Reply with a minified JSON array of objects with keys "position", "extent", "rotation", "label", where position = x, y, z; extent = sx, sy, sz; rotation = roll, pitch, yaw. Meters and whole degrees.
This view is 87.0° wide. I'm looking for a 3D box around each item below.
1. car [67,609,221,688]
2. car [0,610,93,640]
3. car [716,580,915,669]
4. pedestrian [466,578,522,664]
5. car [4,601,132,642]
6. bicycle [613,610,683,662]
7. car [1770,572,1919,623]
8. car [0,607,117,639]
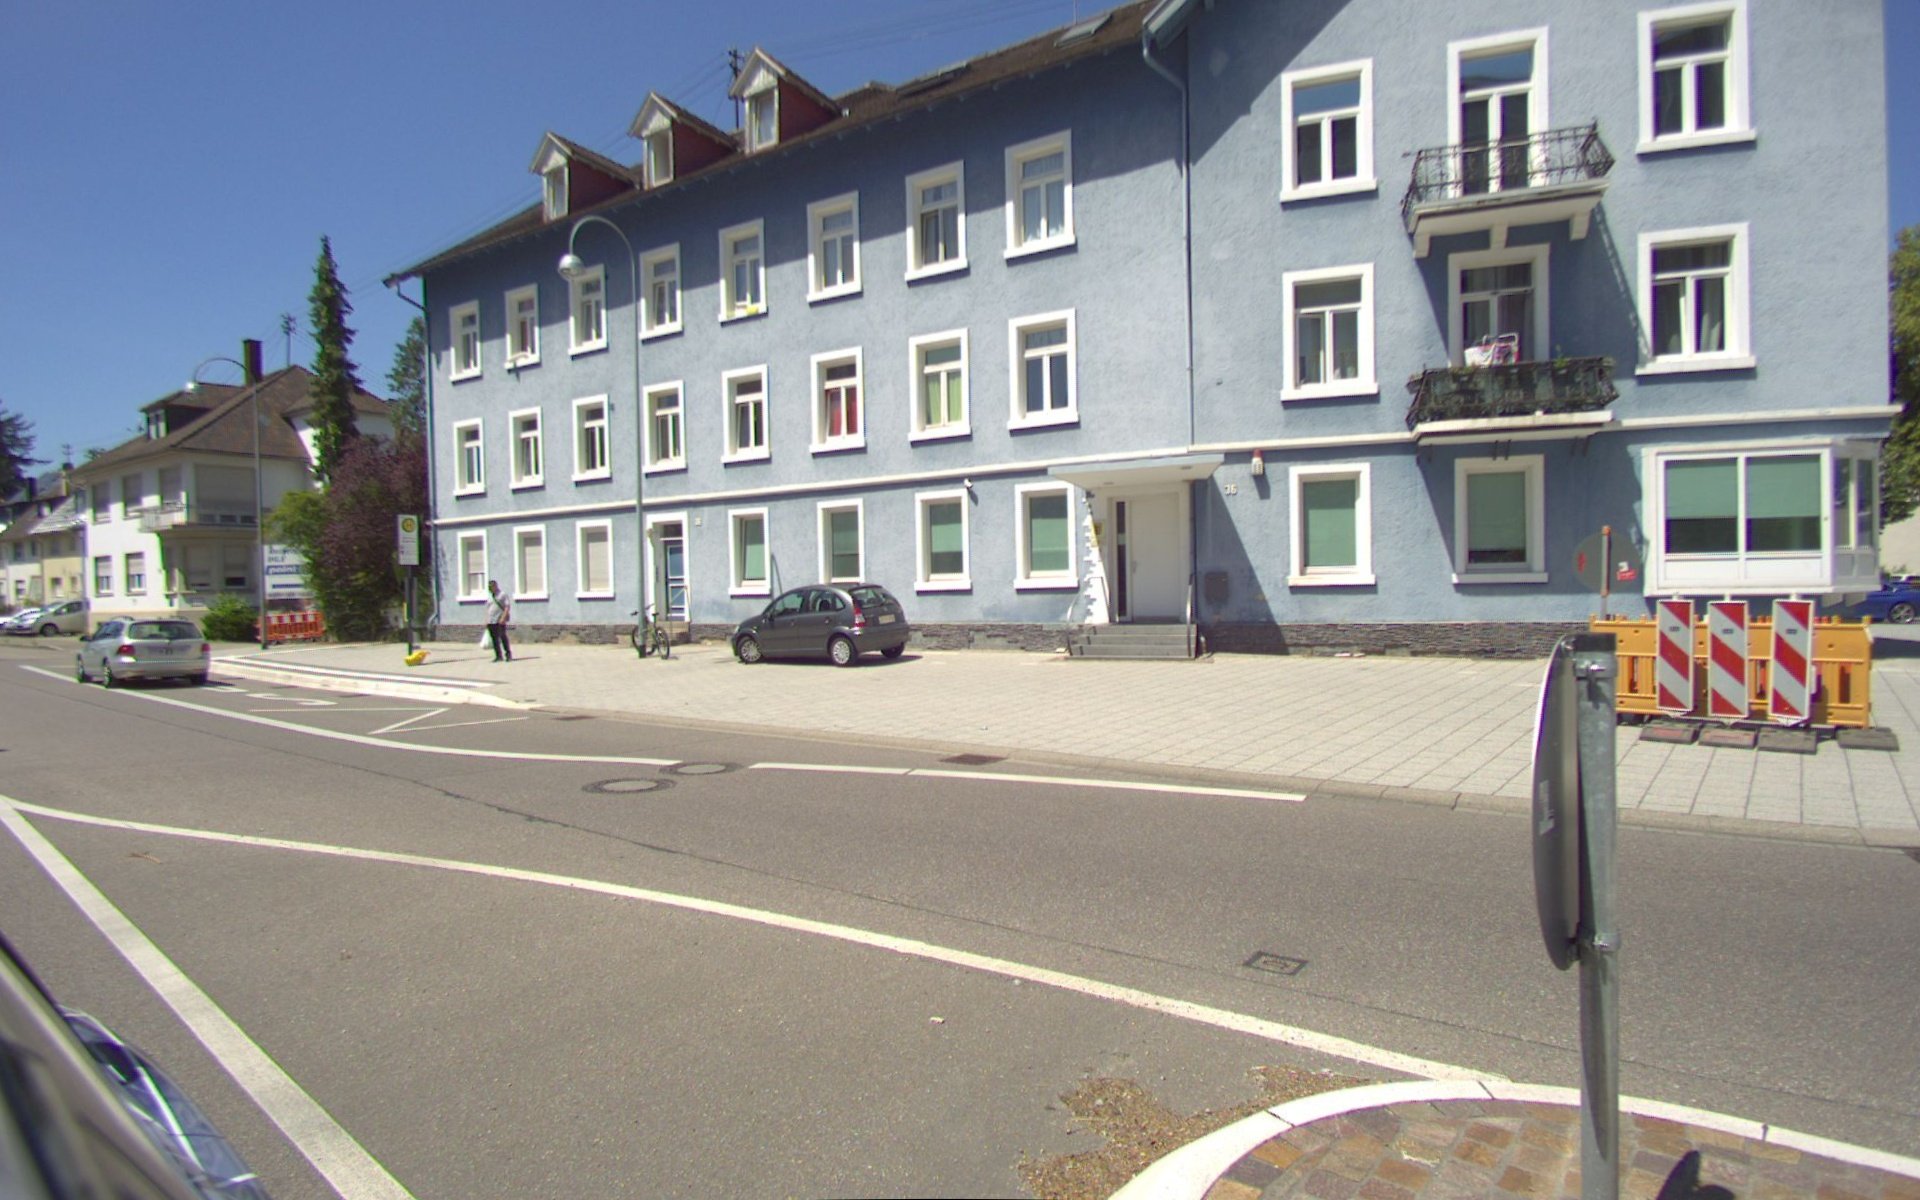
[{"position":[-17.974,1.140,22.231],"extent":[4.390,1.542,1.818],"rotation":[-5,-7,41],"label":"car"},{"position":[-48.120,1.273,52.646],"extent":[4.201,1.507,1.883],"rotation":[0,-1,-24],"label":"car"},{"position":[-2.830,0.396,19.597],"extent":[3.766,1.546,1.565],"rotation":[1,2,34],"label":"car"},{"position":[-10.562,0.466,22.947],"extent":[0.769,1.861,0.750],"rotation":[-1,4,32],"label":"pedestrian"},{"position":[-43.569,1.042,49.531],"extent":[1.841,1.891,4.325],"rotation":[-1,-1,27],"label":"car"},{"position":[-6.691,0.755,21.622],"extent":[1.974,0.984,0.490],"rotation":[1,6,45],"label":"bicycle"},{"position":[27.476,-0.081,30.830],"extent":[4.001,1.369,1.651],"rotation":[-1,4,20],"label":"car"},{"position":[-45.560,1.141,50.947],"extent":[1.971,1.507,4.432],"rotation":[-2,-1,35],"label":"car"}]
